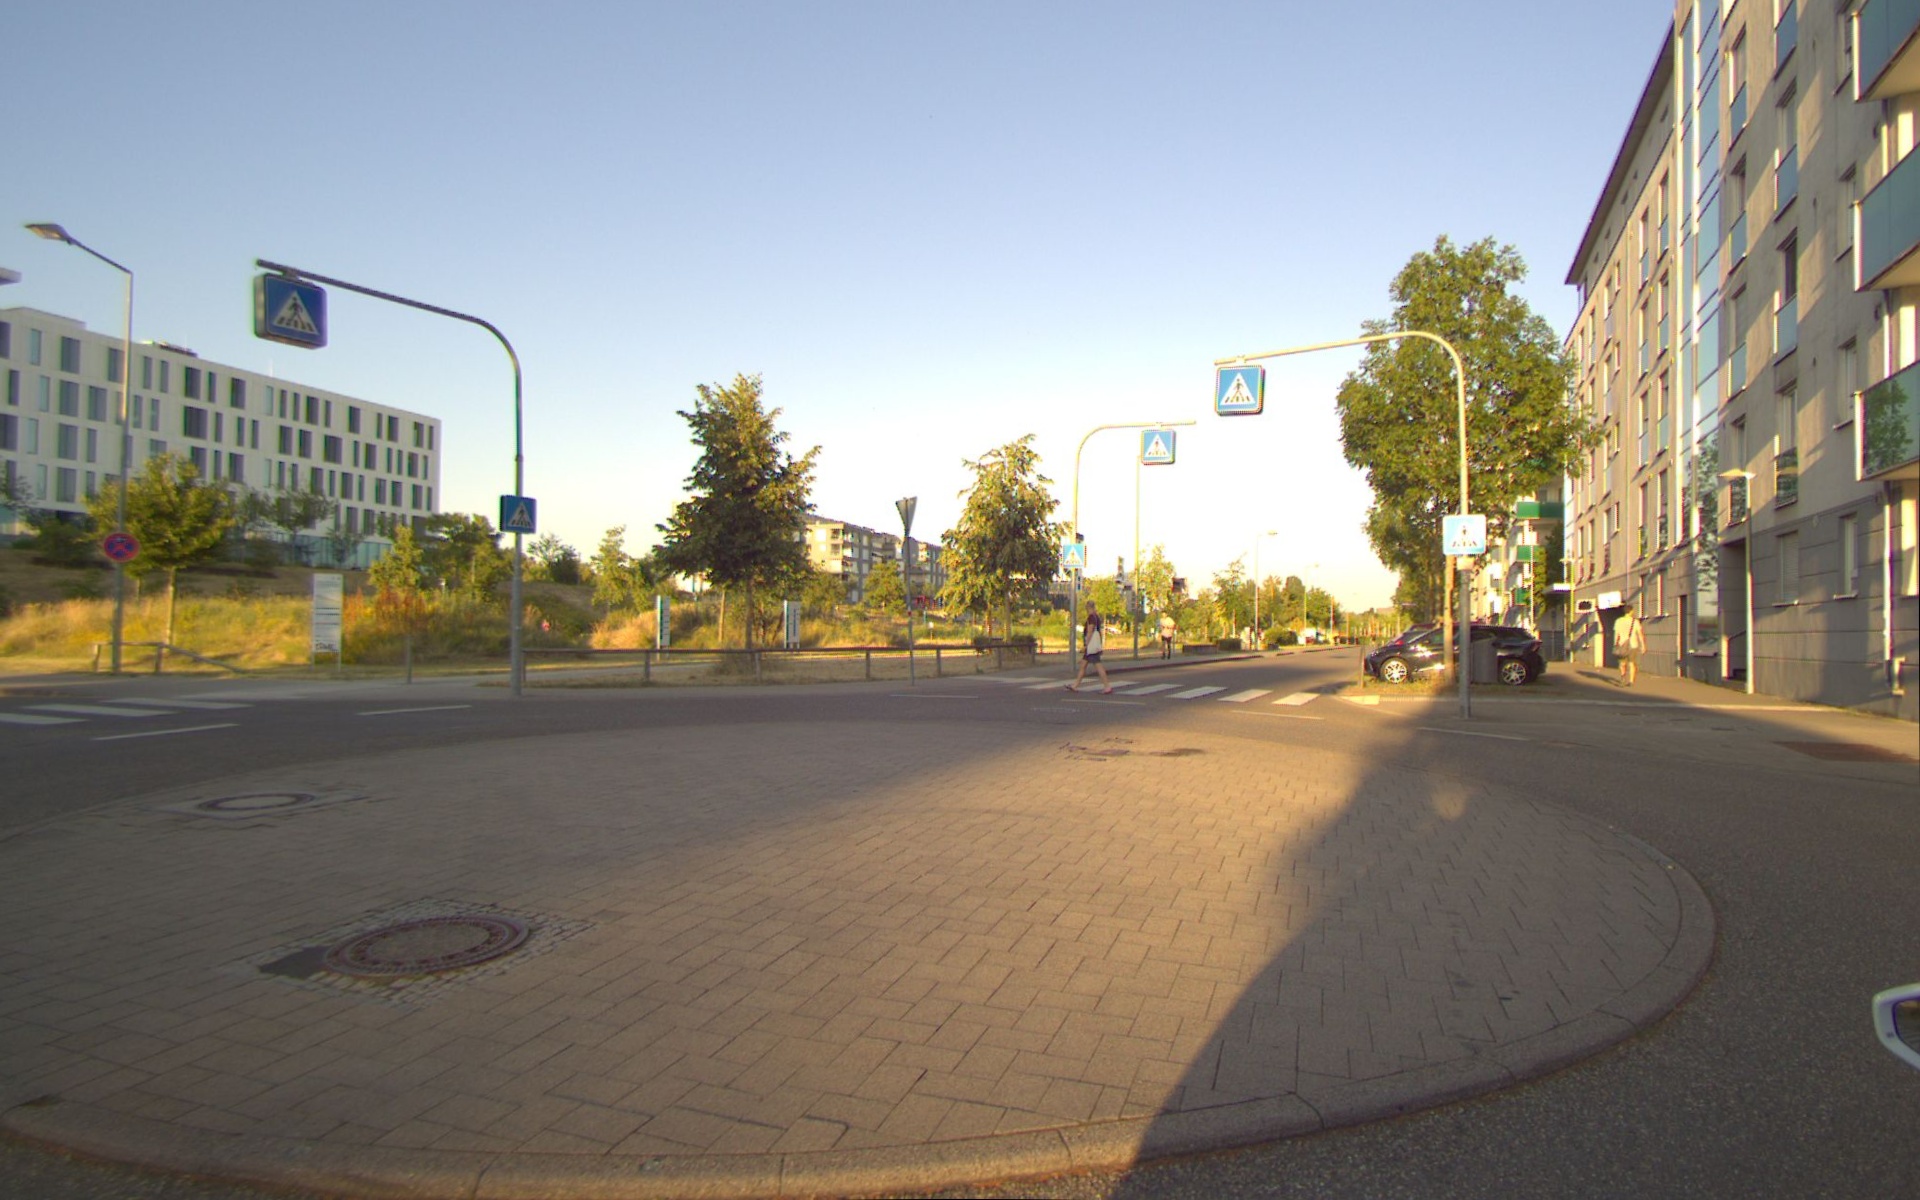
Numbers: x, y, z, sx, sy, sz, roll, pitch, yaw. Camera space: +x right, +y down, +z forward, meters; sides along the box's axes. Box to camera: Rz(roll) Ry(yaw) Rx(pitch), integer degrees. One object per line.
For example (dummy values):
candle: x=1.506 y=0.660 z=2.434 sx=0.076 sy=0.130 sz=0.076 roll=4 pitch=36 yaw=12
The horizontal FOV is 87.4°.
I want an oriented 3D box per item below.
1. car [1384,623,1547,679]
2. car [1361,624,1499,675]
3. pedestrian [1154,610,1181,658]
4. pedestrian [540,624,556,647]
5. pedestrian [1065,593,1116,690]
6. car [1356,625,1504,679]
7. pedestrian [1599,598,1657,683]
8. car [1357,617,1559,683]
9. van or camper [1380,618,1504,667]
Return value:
car: x=13.975 y=1.423 z=28.006 sx=3.930 sy=1.392 sz=1.559 roll=-3 pitch=-2 yaw=23
car: x=15.271 y=1.586 z=32.833 sx=3.978 sy=1.499 sz=1.701 roll=0 pitch=-2 yaw=23
pedestrian: x=7.760 y=1.262 z=37.516 sx=0.753 sy=1.752 sz=0.800 roll=0 pitch=-1 yaw=29
pedestrian: x=-32.646 y=2.830 z=79.576 sx=0.819 sy=1.790 sz=0.817 roll=0 pitch=-1 yaw=28
pedestrian: x=2.498 y=0.785 z=19.196 sx=0.786 sy=1.808 sz=0.734 roll=1 pitch=-1 yaw=23
car: x=14.256 y=1.546 z=30.649 sx=3.978 sy=1.499 sz=1.701 roll=0 pitch=-2 yaw=23
pedestrian: x=15.716 y=0.942 z=23.662 sx=0.961 sy=1.919 sz=1.049 roll=0 pitch=-1 yaw=25
car: x=12.537 y=1.286 z=25.585 sx=4.396 sy=1.507 sz=1.832 roll=-3 pitch=-3 yaw=23
van or camper: x=22.209 y=1.941 z=46.503 sx=5.033 sy=2.087 sz=1.877 roll=0 pitch=-1 yaw=23
